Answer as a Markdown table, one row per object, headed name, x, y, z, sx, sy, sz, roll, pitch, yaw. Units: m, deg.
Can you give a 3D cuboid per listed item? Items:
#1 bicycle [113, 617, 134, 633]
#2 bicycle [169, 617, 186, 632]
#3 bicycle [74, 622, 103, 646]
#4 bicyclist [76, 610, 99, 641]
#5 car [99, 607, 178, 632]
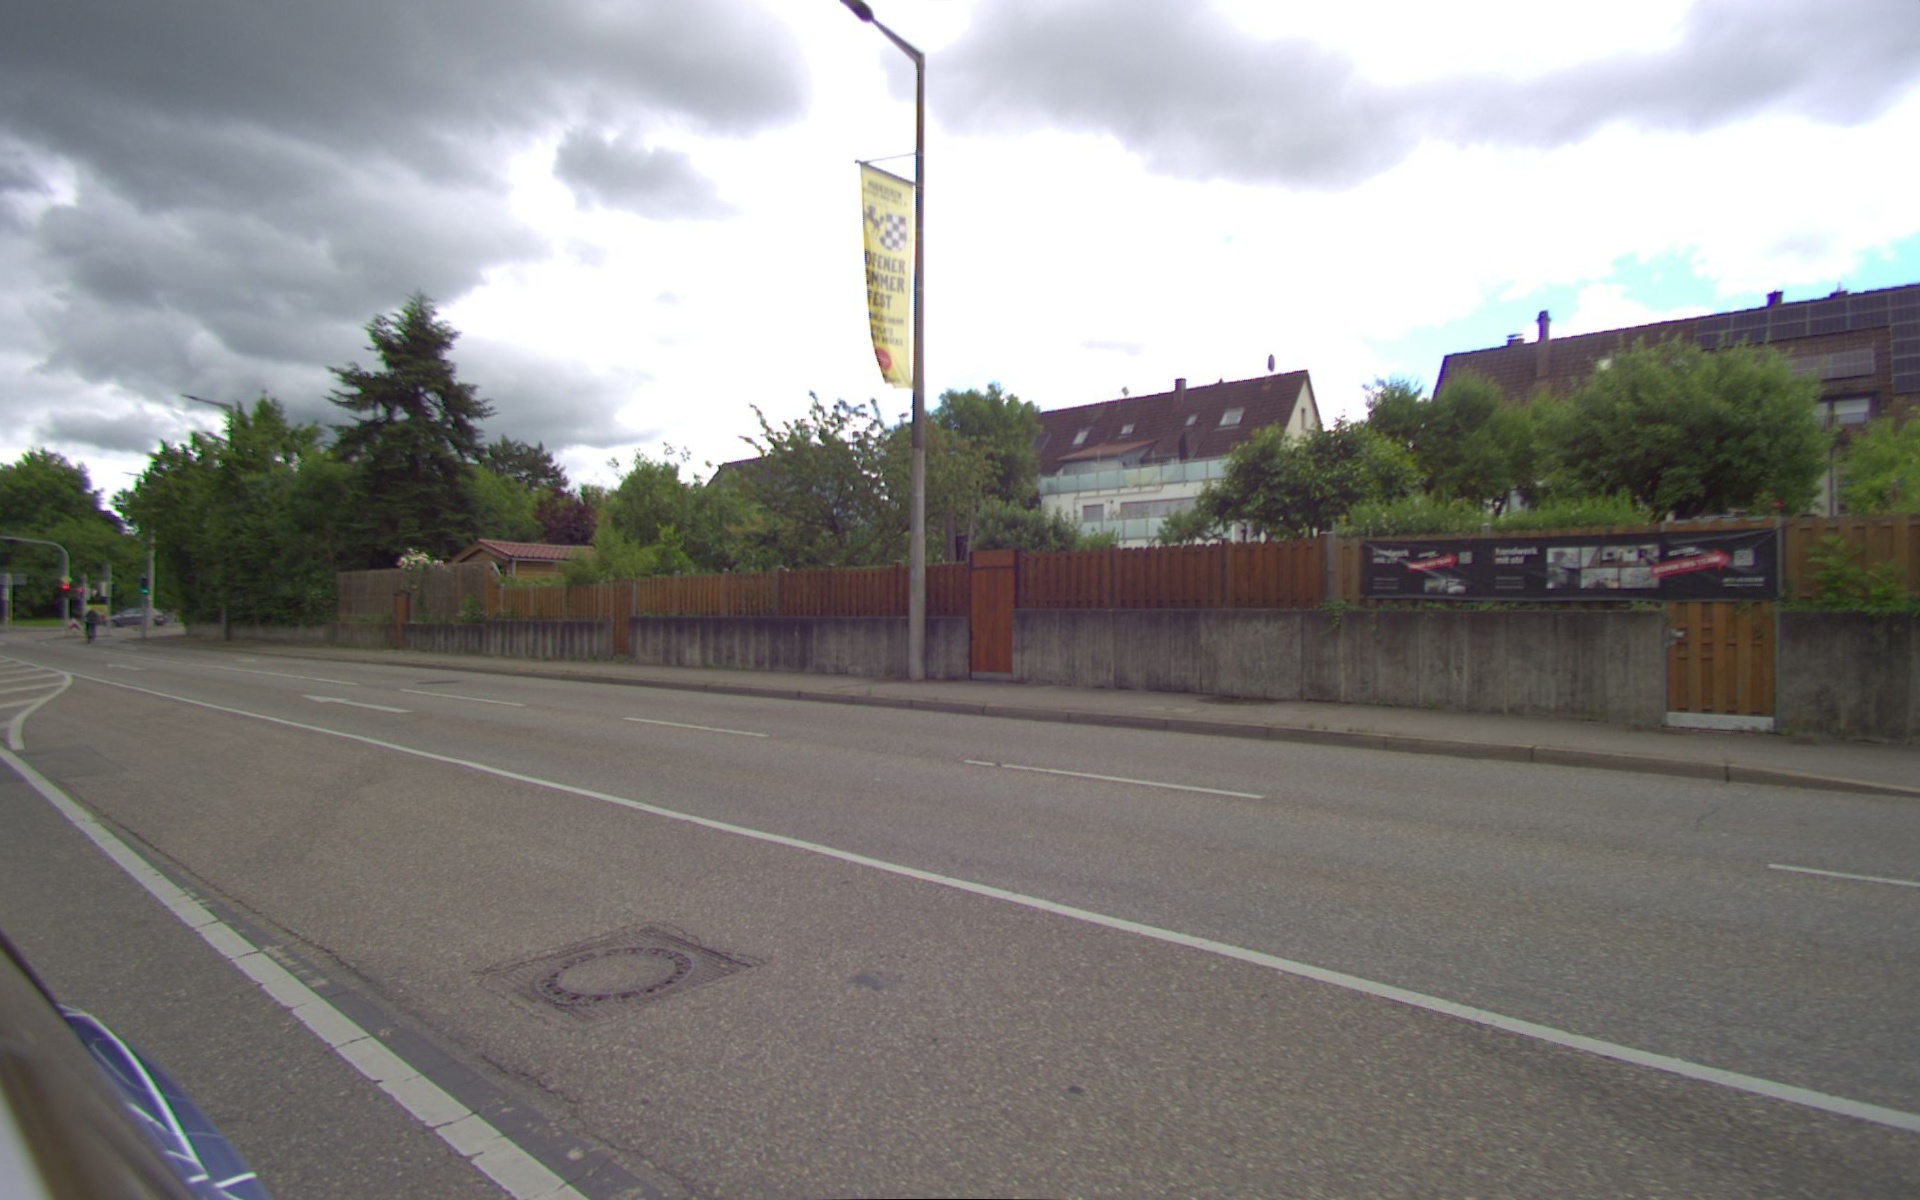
| name | x | y | z | sx | sy | sz | roll | pitch | yaw |
| --- | --- | --- | --- | --- | --- | --- | --- | --- | --- |
| bicycle | -73.848 | 2.196 | 89.385 | 0.537 | 1.262 | 1.940 | -1 | 1 | -12 |
| bicycle | -70.520 | 2.188 | 91.194 | 0.536 | 1.262 | 1.941 | -1 | 1 | -16 |
| bicycle | -43.547 | 1.675 | 50.538 | 2.144 | 1.154 | 0.636 | -1 | 0 | 37 |
| bicyclist | -43.537 | 1.269 | 50.511 | 0.977 | 1.546 | 0.636 | -1 | 0 | 37 |
| car | -68.225 | 1.616 | 84.134 | 4.665 | 1.867 | 2.006 | -1 | 1 | -18 |
